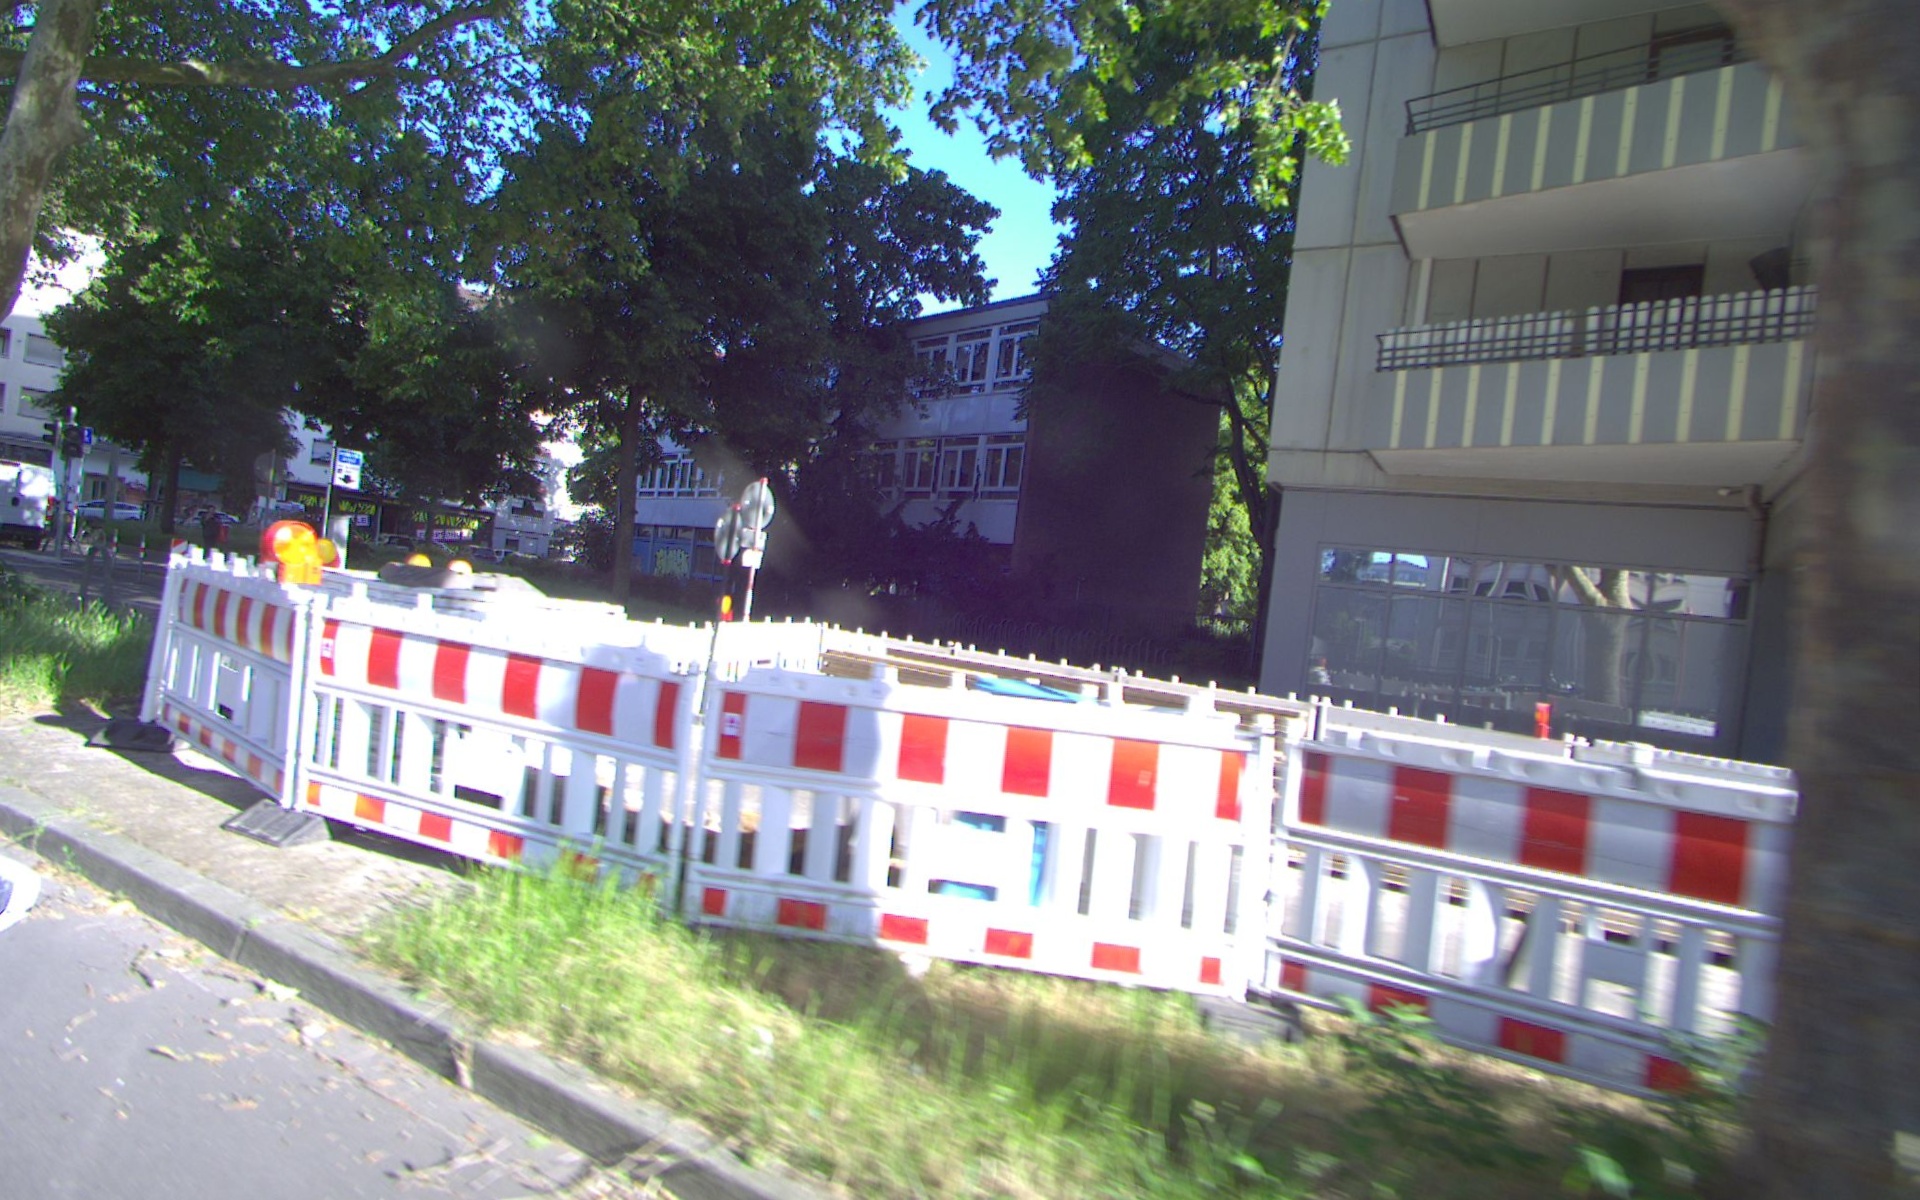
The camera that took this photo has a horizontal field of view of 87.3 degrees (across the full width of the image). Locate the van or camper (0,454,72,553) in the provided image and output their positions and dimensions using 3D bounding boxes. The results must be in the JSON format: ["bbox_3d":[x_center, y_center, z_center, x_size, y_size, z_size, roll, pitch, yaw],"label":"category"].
[{"bbox_3d":[-26.506,-2.781,26.993,5.726,2.314,2.294,7,-1,31],"label":"van or camper"}]

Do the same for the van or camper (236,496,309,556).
[{"bbox_3d":[-35.277,-3.824,51.534,2.140,2.668,5.520,7,0,-42],"label":"van or camper"}]

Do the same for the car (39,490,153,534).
[{"bbox_3d":[-47.052,-4.770,54.836,4.573,1.600,1.975,8,-1,-43],"label":"car"}]

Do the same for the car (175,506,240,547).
[{"bbox_3d":[-37.209,-3.649,49.692,1.988,1.647,4.336,7,0,-43],"label":"car"}]

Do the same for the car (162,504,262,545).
[{"bbox_3d":[-43.281,-4.337,58.235,4.368,1.664,1.976,8,-1,-43],"label":"car"}]

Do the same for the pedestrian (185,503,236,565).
[{"bbox_3d":[-21.747,-1.914,29.184,1.018,1.636,0.733,7,0,32],"label":"pedestrian"}]

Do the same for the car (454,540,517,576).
[{"bbox_3d":[-27.897,-2.467,59.036,1.988,1.647,4.336,7,0,-43],"label":"car"}]

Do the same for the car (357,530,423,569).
[{"bbox_3d":[-31.453,-2.815,55.420,1.988,1.689,4.687,7,0,-43],"label":"car"}]

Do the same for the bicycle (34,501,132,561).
[{"bbox_3d":[-22.701,-1.774,26.064,0.946,1.279,1.607,7,0,27],"label":"bicycle"}]

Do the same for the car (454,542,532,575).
[{"bbox_3d":[-32.060,-2.847,69.143,4.368,1.555,1.976,8,-1,-43],"label":"car"}]

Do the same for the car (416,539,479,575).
[{"bbox_3d":[-29.391,-2.479,57.609,1.988,1.647,4.336,7,0,-43],"label":"car"}]
